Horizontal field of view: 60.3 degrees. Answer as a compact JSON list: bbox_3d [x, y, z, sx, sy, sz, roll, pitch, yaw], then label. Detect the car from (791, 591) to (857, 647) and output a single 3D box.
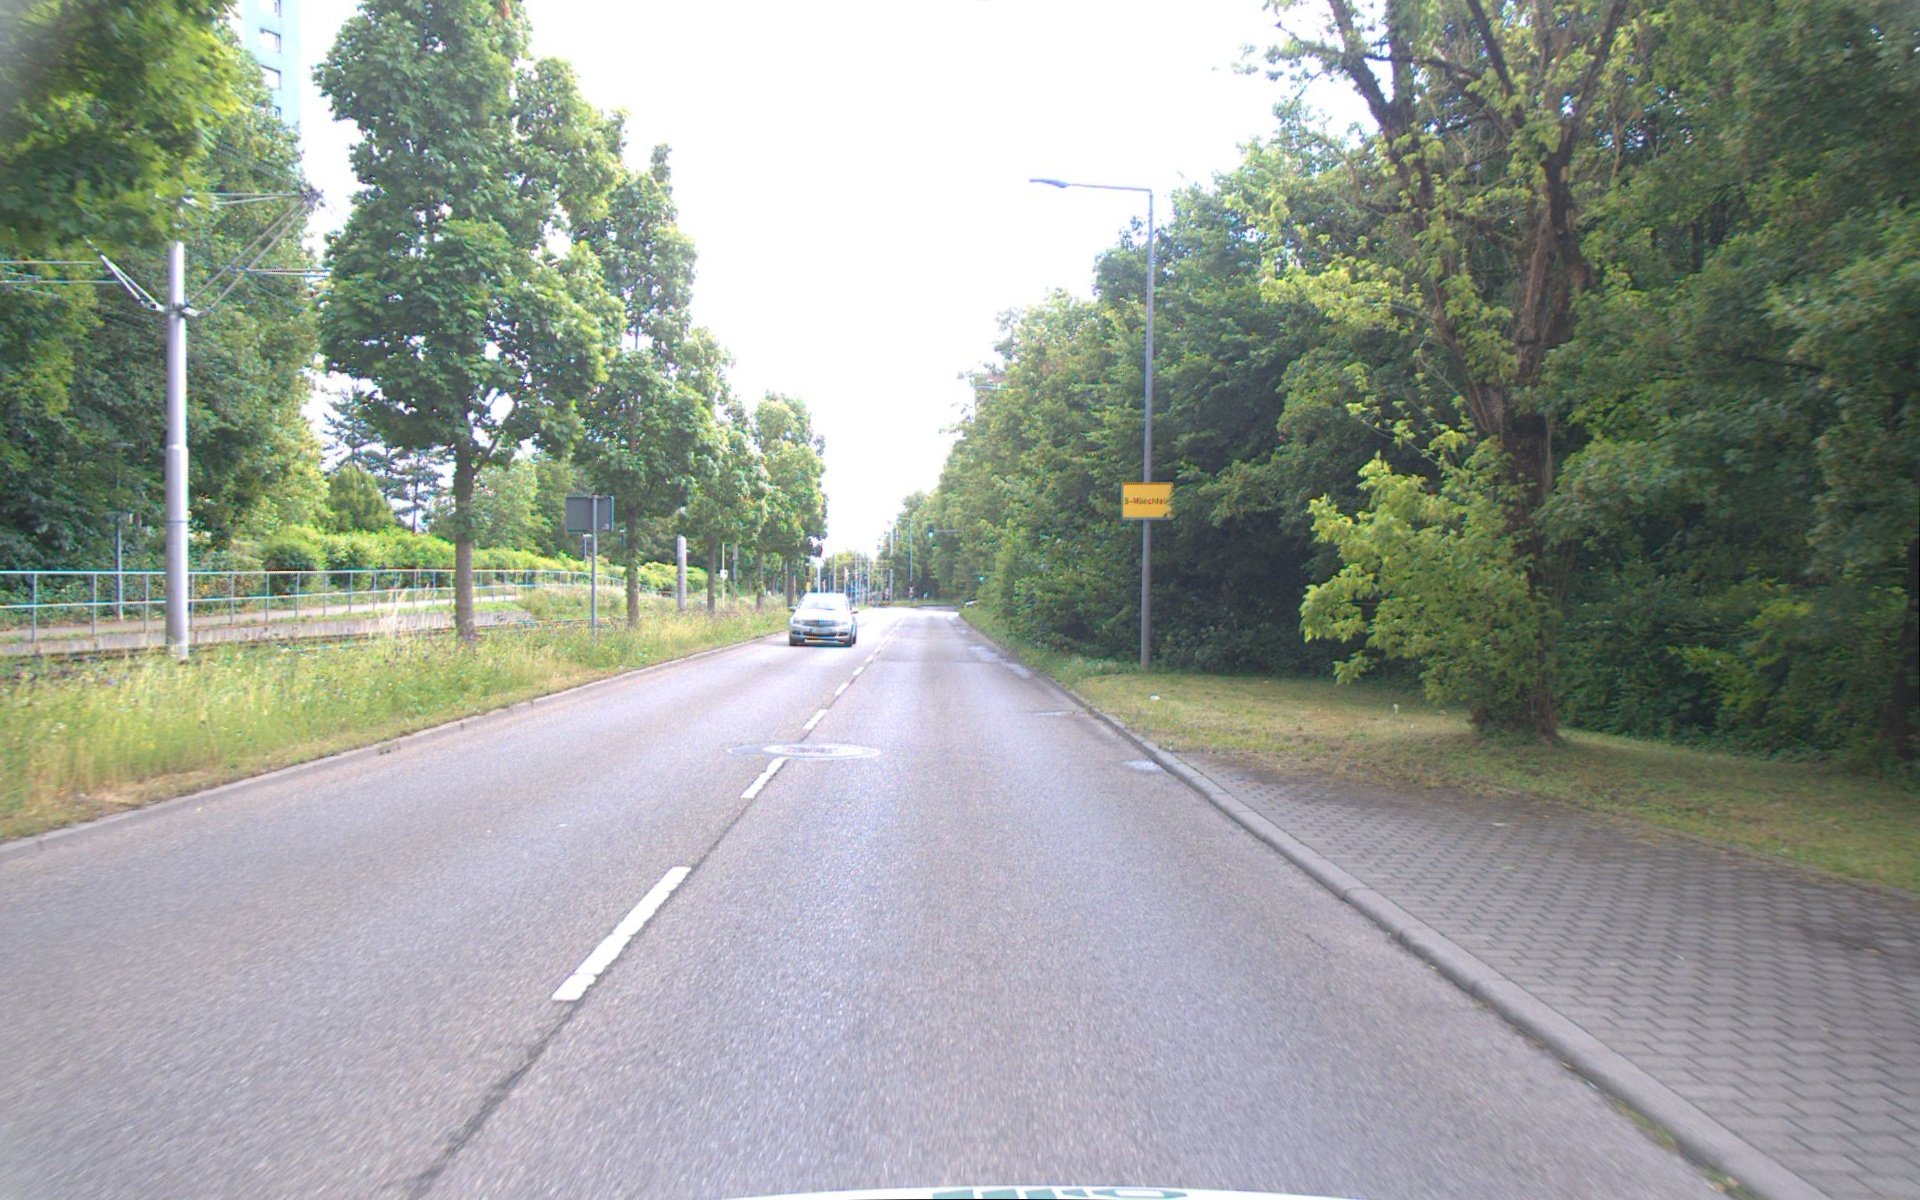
[{"bbox_3d":[-3.841,0.509,46.904,1.739,1.494,4.238,1,0,-4],"label":"car"}]
